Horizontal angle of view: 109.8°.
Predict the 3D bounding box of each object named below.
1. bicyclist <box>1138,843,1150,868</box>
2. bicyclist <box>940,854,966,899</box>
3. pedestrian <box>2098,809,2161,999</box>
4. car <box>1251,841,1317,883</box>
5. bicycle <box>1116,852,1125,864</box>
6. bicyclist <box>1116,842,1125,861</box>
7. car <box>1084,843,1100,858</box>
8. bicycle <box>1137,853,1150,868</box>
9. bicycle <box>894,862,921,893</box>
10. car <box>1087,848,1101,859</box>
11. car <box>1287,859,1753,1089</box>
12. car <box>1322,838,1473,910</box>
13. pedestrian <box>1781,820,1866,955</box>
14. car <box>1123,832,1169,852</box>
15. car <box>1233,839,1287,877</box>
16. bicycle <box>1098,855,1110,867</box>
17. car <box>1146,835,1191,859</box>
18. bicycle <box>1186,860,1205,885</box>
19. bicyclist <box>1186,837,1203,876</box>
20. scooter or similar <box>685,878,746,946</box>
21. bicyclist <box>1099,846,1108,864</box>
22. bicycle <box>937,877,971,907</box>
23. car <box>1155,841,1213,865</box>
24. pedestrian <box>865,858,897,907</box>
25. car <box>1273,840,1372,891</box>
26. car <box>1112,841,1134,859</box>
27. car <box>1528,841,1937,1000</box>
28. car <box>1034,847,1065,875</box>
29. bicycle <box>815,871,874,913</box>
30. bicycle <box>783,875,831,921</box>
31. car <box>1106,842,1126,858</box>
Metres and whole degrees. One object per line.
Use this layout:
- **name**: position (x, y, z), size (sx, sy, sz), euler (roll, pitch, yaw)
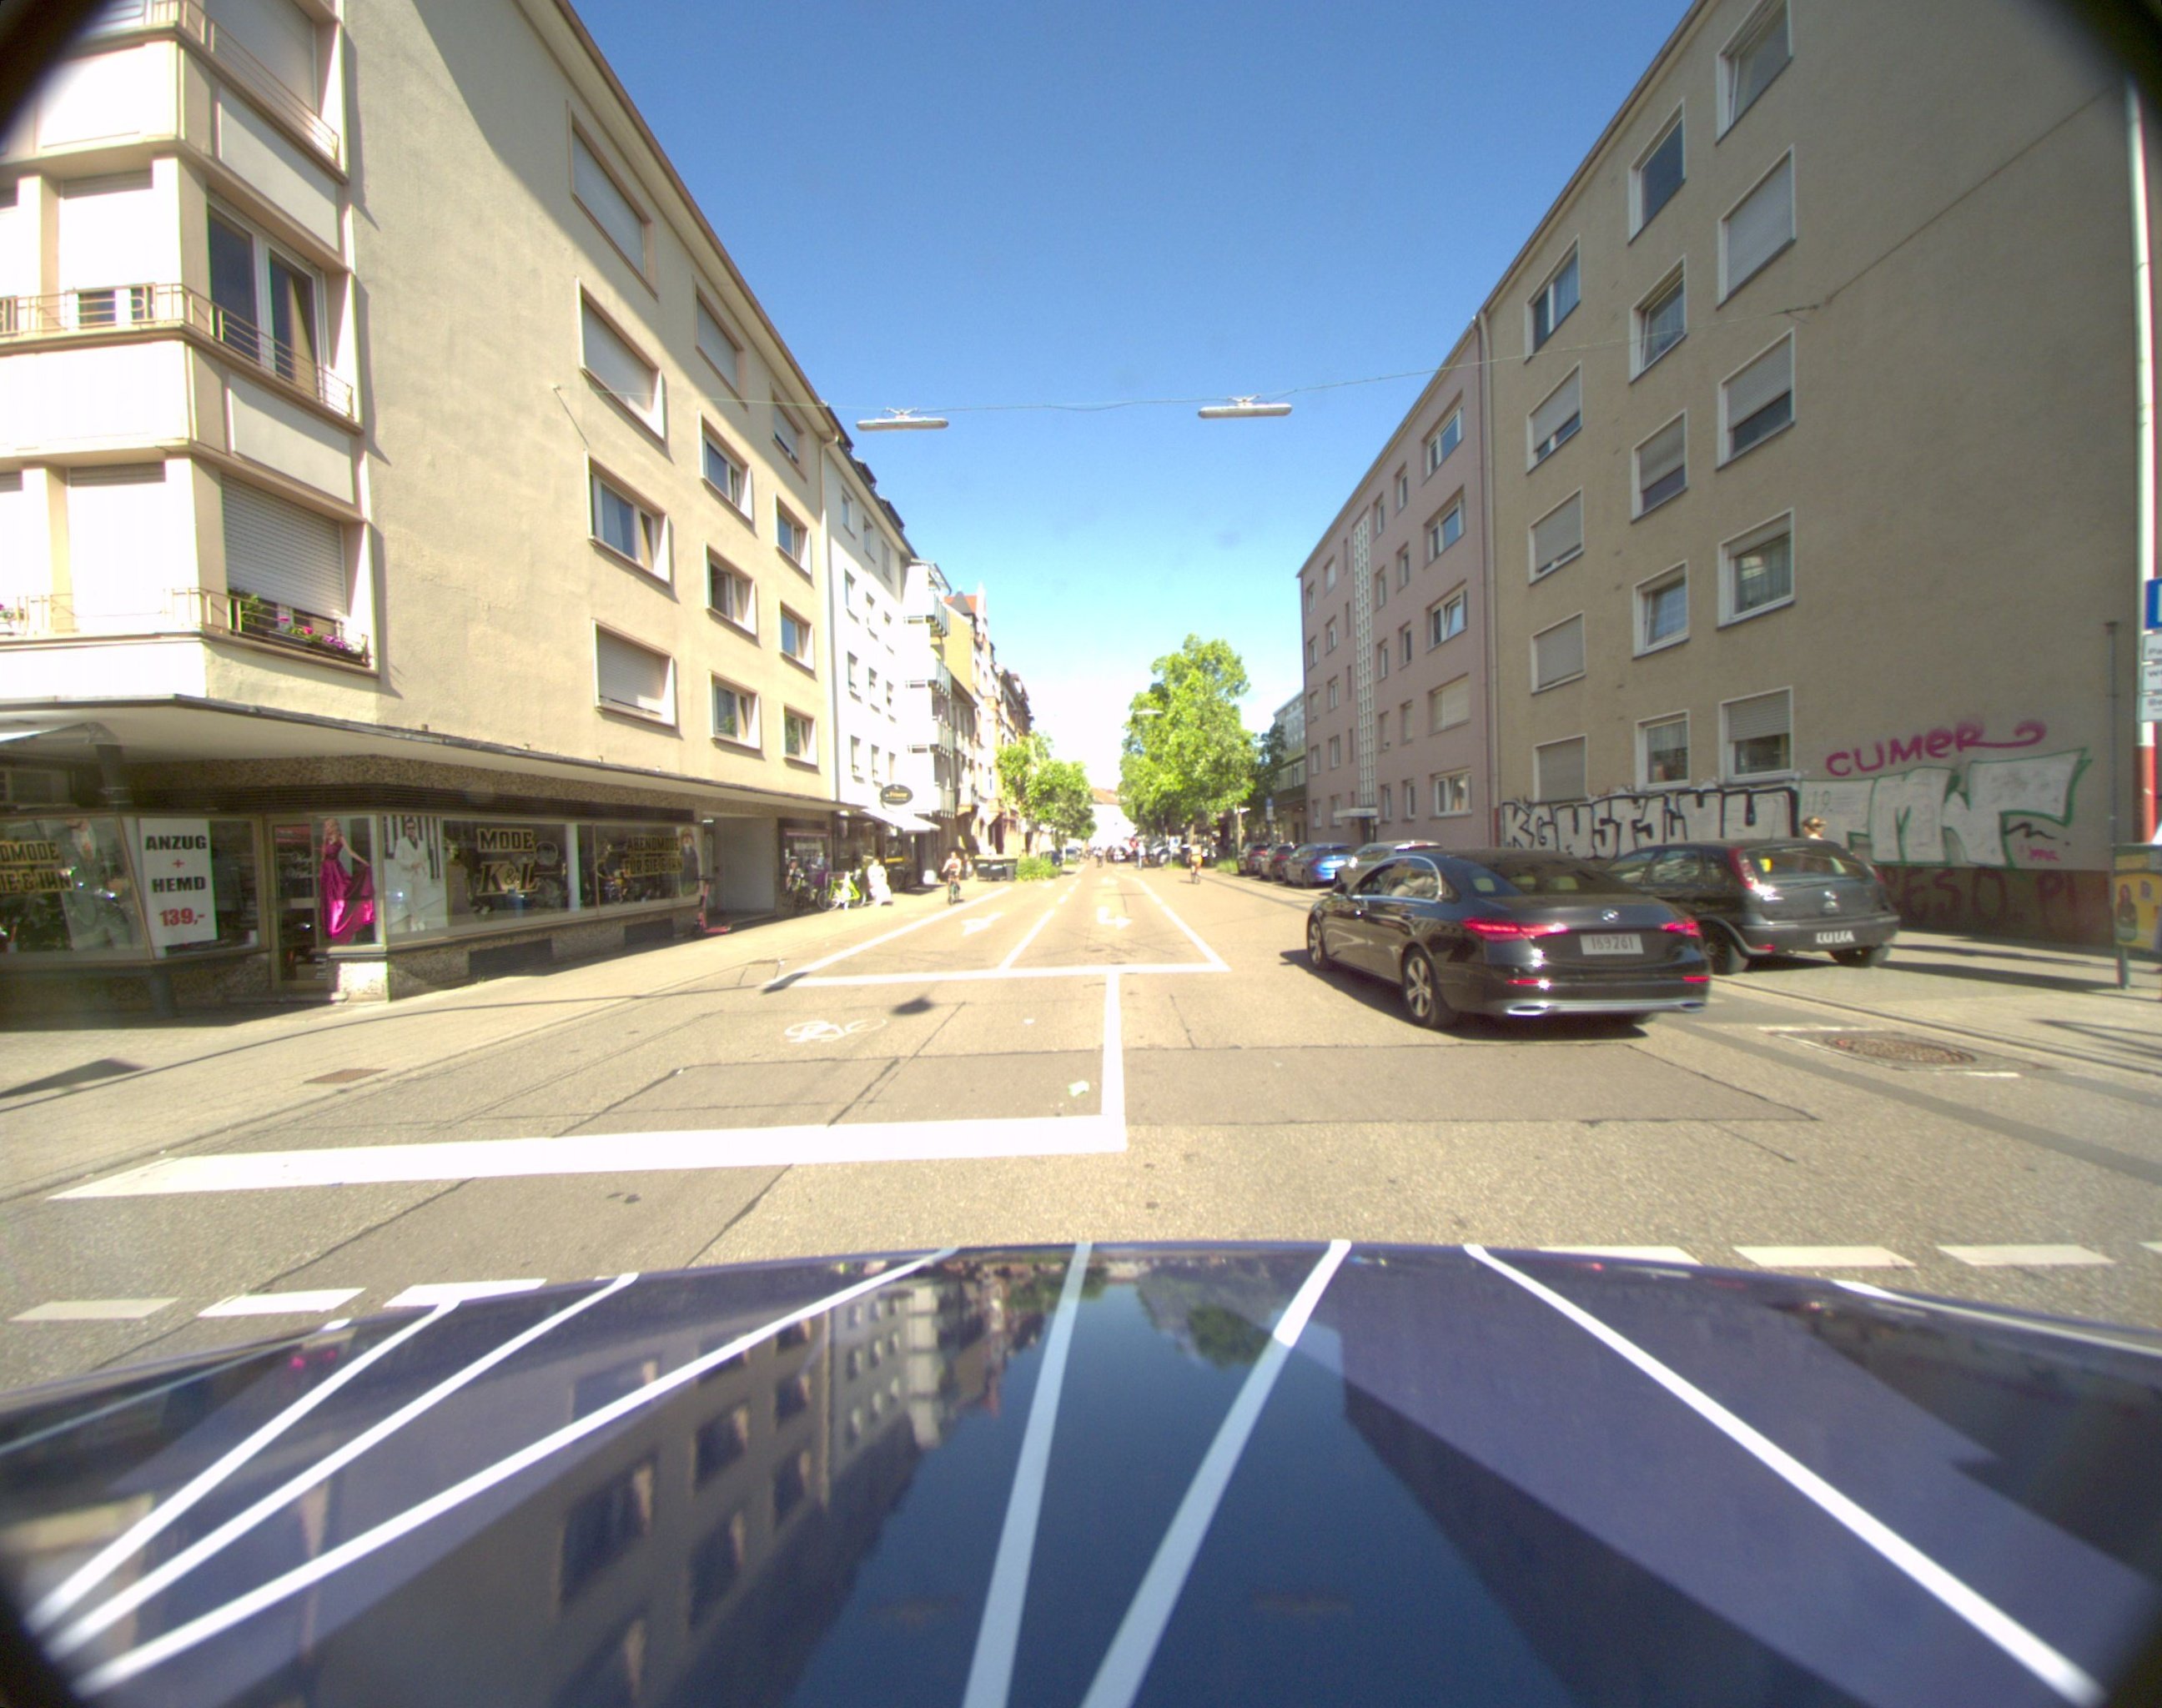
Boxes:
- **bicyclist**: position (4.176, 0.081, 50.590), size (0.681, 1.621, 0.899), euler (-2, 1, 2)
- **bicyclist**: position (-3.983, 0.688, 23.701), size (0.582, 1.369, 0.665), euler (-2, 1, 7)
- **pedestrian**: position (9.788, 0.430, 6.767), size (0.574, 1.679, 0.669), euler (-2, 1, 2)
- **car**: position (8.150, 0.281, 30.881), size (1.727, 1.459, 4.158), euler (-4, 1, 3)
- **bicycle**: position (3.262, 0.346, 63.249), size (0.681, 0.946, 1.933), euler (0, 1, 2)
- **bicyclist**: position (3.268, -0.181, 63.225), size (0.681, 1.567, 0.899), euler (0, 1, 2)
- **car**: position (1.206, -0.400, 83.464), size (1.627, 1.587, 3.546), euler (-2, 1, 2)
- **bicycle**: position (4.150, 0.403, 50.553), size (0.681, 0.946, 1.933), euler (-2, 1, 2)
- **bicycle**: position (-6.830, 0.927, 30.014), size (0.598, 1.137, 1.774), euler (1, 1, 2)
- **car**: position (1.677, -0.089, 97.741), size (1.627, 1.270, 3.547), euler (-2, 1, 3)
- **car**: position (3.473, 0.799, 7.188), size (1.809, 1.405, 4.424), euler (0, 1, -1)
- **car**: position (7.890, 0.410, 19.504), size (1.828, 1.495, 4.801), euler (-4, 1, 1)
- **pedestrian**: position (8.995, 0.393, 9.224), size (0.532, 1.572, 0.563), euler (-2, 1, 16)
- **car**: position (8.253, -1.499, 96.677), size (5.559, 2.379, 1.977), euler (-2, 1, -4)
- **car**: position (8.447, 0.152, 36.220), size (1.727, 1.567, 4.158), euler (-4, 1, 3)
- **bicycle**: position (1.737, 0.508, 58.329), size (0.544, 0.897, 1.824), euler (-2, 1, -9)
- **car**: position (7.928, -0.603, 68.919), size (3.875, 2.031, 1.913), euler (-2, 1, 4)
- **bicycle**: position (4.489, 0.721, 29.862), size (0.544, 0.897, 1.826), euler (-2, 1, 2)
- **bicyclist**: position (4.477, 0.098, 30.001), size (0.544, 1.512, 0.774), euler (-2, 1, 2)
- **scooter or similar**: position (-7.238, 1.122, 15.093), size (0.527, 1.218, 1.228), euler (-2, 1, 2)
- **bicyclist**: position (1.705, 0.060, 58.417), size (0.544, 1.383, 0.787), euler (-2, 1, -9)
- **bicycle**: position (-3.959, 1.183, 23.795), size (0.582, 0.801, 1.710), euler (-2, 1, 7)
- **car**: position (7.388, -0.088, 54.834), size (3.996, 1.543, 1.913), euler (-2, 1, 4)
- **pedestrian**: position (-6.089, 0.864, 23.143), size (0.775, 1.434, 0.625), euler (-2, 1, -3)
- **car**: position (8.133, 0.326, 26.062), size (1.828, 1.495, 4.801), euler (-4, 1, 1)
- **car**: position (3.832, -0.382, 70.099), size (1.911, 1.543, 4.000), euler (-2, 1, 1)
- **car**: position (7.518, 0.629, 9.367), size (1.695, 1.440, 3.856), euler (-4, 1, 1)
- **car**: position (-1.939, 0.410, 47.735), size (1.627, 1.587, 3.546), euler (-2, 1, 2)
- **bicycle**: position (-6.894, 1.081, 22.149), size (1.497, 1.100, 0.722), euler (-2, 1, -30)
- **bicycle**: position (-7.116, 1.125, 19.833), size (0.407, 1.078, 1.801), euler (1, 1, 7)
- **car**: position (3.679, -0.462, 79.986), size (1.911, 1.543, 4.000), euler (-2, 1, 1)
